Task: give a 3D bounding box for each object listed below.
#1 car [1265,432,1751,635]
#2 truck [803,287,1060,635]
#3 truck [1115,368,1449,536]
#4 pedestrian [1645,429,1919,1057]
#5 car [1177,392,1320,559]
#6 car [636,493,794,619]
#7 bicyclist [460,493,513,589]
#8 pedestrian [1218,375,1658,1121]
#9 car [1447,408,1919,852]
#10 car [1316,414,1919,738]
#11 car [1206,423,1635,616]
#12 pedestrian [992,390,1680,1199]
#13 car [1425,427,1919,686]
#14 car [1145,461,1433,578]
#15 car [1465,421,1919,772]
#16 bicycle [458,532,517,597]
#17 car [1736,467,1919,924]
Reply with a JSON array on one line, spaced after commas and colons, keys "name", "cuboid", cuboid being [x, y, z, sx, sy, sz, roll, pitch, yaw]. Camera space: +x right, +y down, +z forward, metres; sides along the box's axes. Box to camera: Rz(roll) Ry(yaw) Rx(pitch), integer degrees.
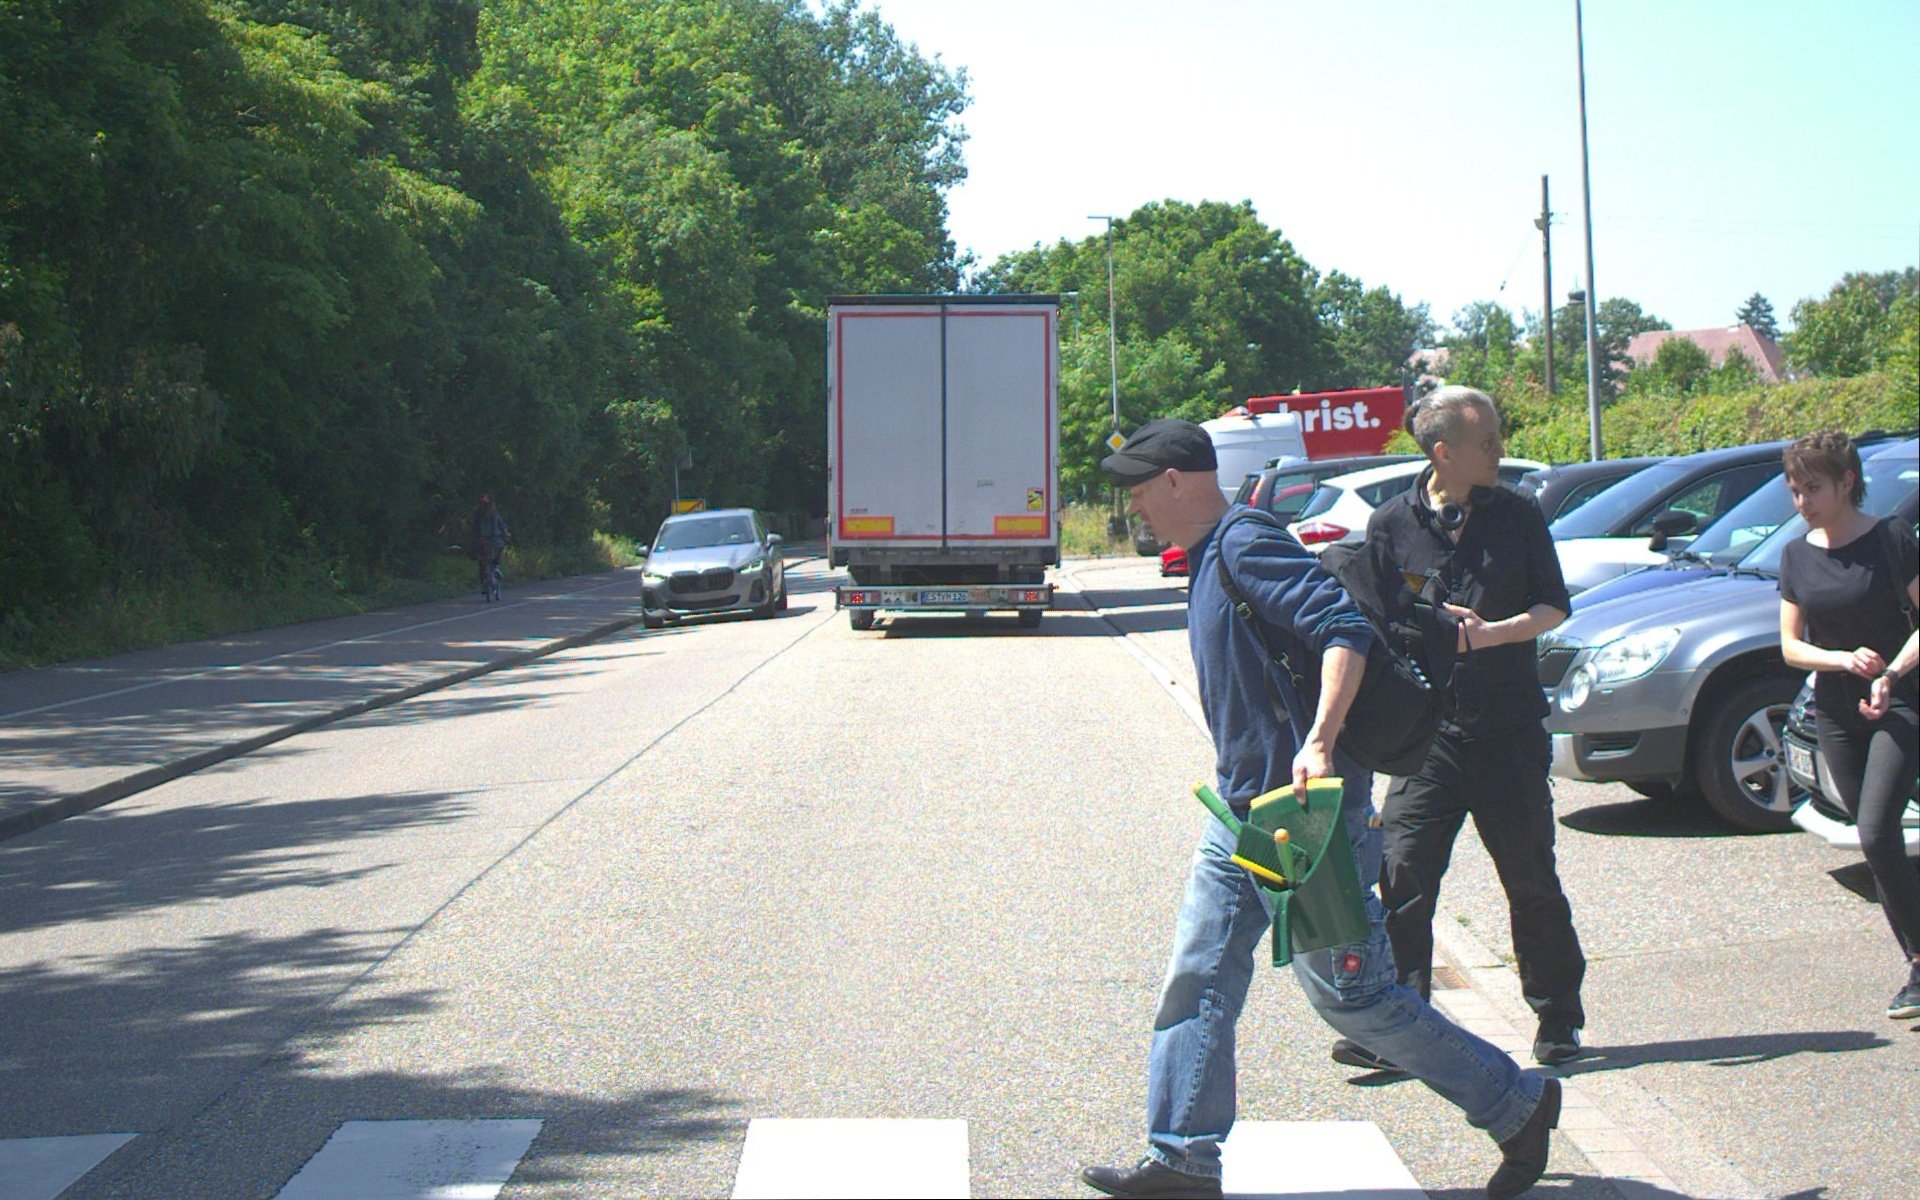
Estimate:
[{"name": "car", "cuboid": [5.238, -0.656, 33.190, 4.276, 1.572, 1.766, -5, 2, -1]}, {"name": "truck", "cuboid": [-0.200, -1.732, 44.163, 2.733, 3.732, 13.246, -1, 2, 1]}, {"name": "truck", "cuboid": [7.220, -3.305, 76.793, 7.140, 3.428, 2.329, -2, 3, 11]}, {"name": "pedestrian", "cuboid": [2.464, 0.360, 9.329, 0.779, 1.605, 0.895, -5, 1, 32]}, {"name": "car", "cuboid": [5.192, -2.283, 62.779, 1.954, 2.724, 7.168, -4, 2, 1]}, {"name": "car", "cuboid": [-3.448, -0.664, 49.027, 1.891, 1.527, 4.197, -6, 2, -1]}, {"name": "bicyclist", "cuboid": [-7.926, -0.988, 57.541, 0.648, 1.559, 0.837, -2, 2, 4]}, {"name": "pedestrian", "cuboid": [1.296, 0.349, 9.222, 0.783, 1.858, 1.084, 1, 2, 31]}, {"name": "car", "cuboid": [4.322, -0.017, 14.954, 3.960, 1.634, 1.664, -6, 2, -5]}, {"name": "car", "cuboid": [4.348, -0.197, 20.753, 3.962, 1.517, 1.865, -6, 2, -5]}, {"name": "car", "cuboid": [5.227, -0.926, 39.397, 4.452, 1.798, 1.953, -5, 1, -4]}, {"name": "pedestrian", "cuboid": [0.762, 0.459, 7.287, 1.154, 1.745, 1.023, -2, 1, -12]}, {"name": "car", "cuboid": [5.021, -0.326, 23.743, 3.388, 1.498, 1.588, -4, 2, 4]}, {"name": "car", "cuboid": [4.967, -1.240, 52.260, 4.053, 1.429, 1.836, -5, 2, -2]}, {"name": "car", "cuboid": [4.563, -0.107, 17.885, 3.452, 1.521, 1.540, -6, 2, -5]}, {"name": "bicycle", "cuboid": [-7.903, -0.600, 57.537, 0.561, 1.023, 1.839, -2, 2, 4]}, {"name": "car", "cuboid": [4.781, 0.145, 12.082, 3.690, 1.445, 1.610, -6, 2, 4]}]
